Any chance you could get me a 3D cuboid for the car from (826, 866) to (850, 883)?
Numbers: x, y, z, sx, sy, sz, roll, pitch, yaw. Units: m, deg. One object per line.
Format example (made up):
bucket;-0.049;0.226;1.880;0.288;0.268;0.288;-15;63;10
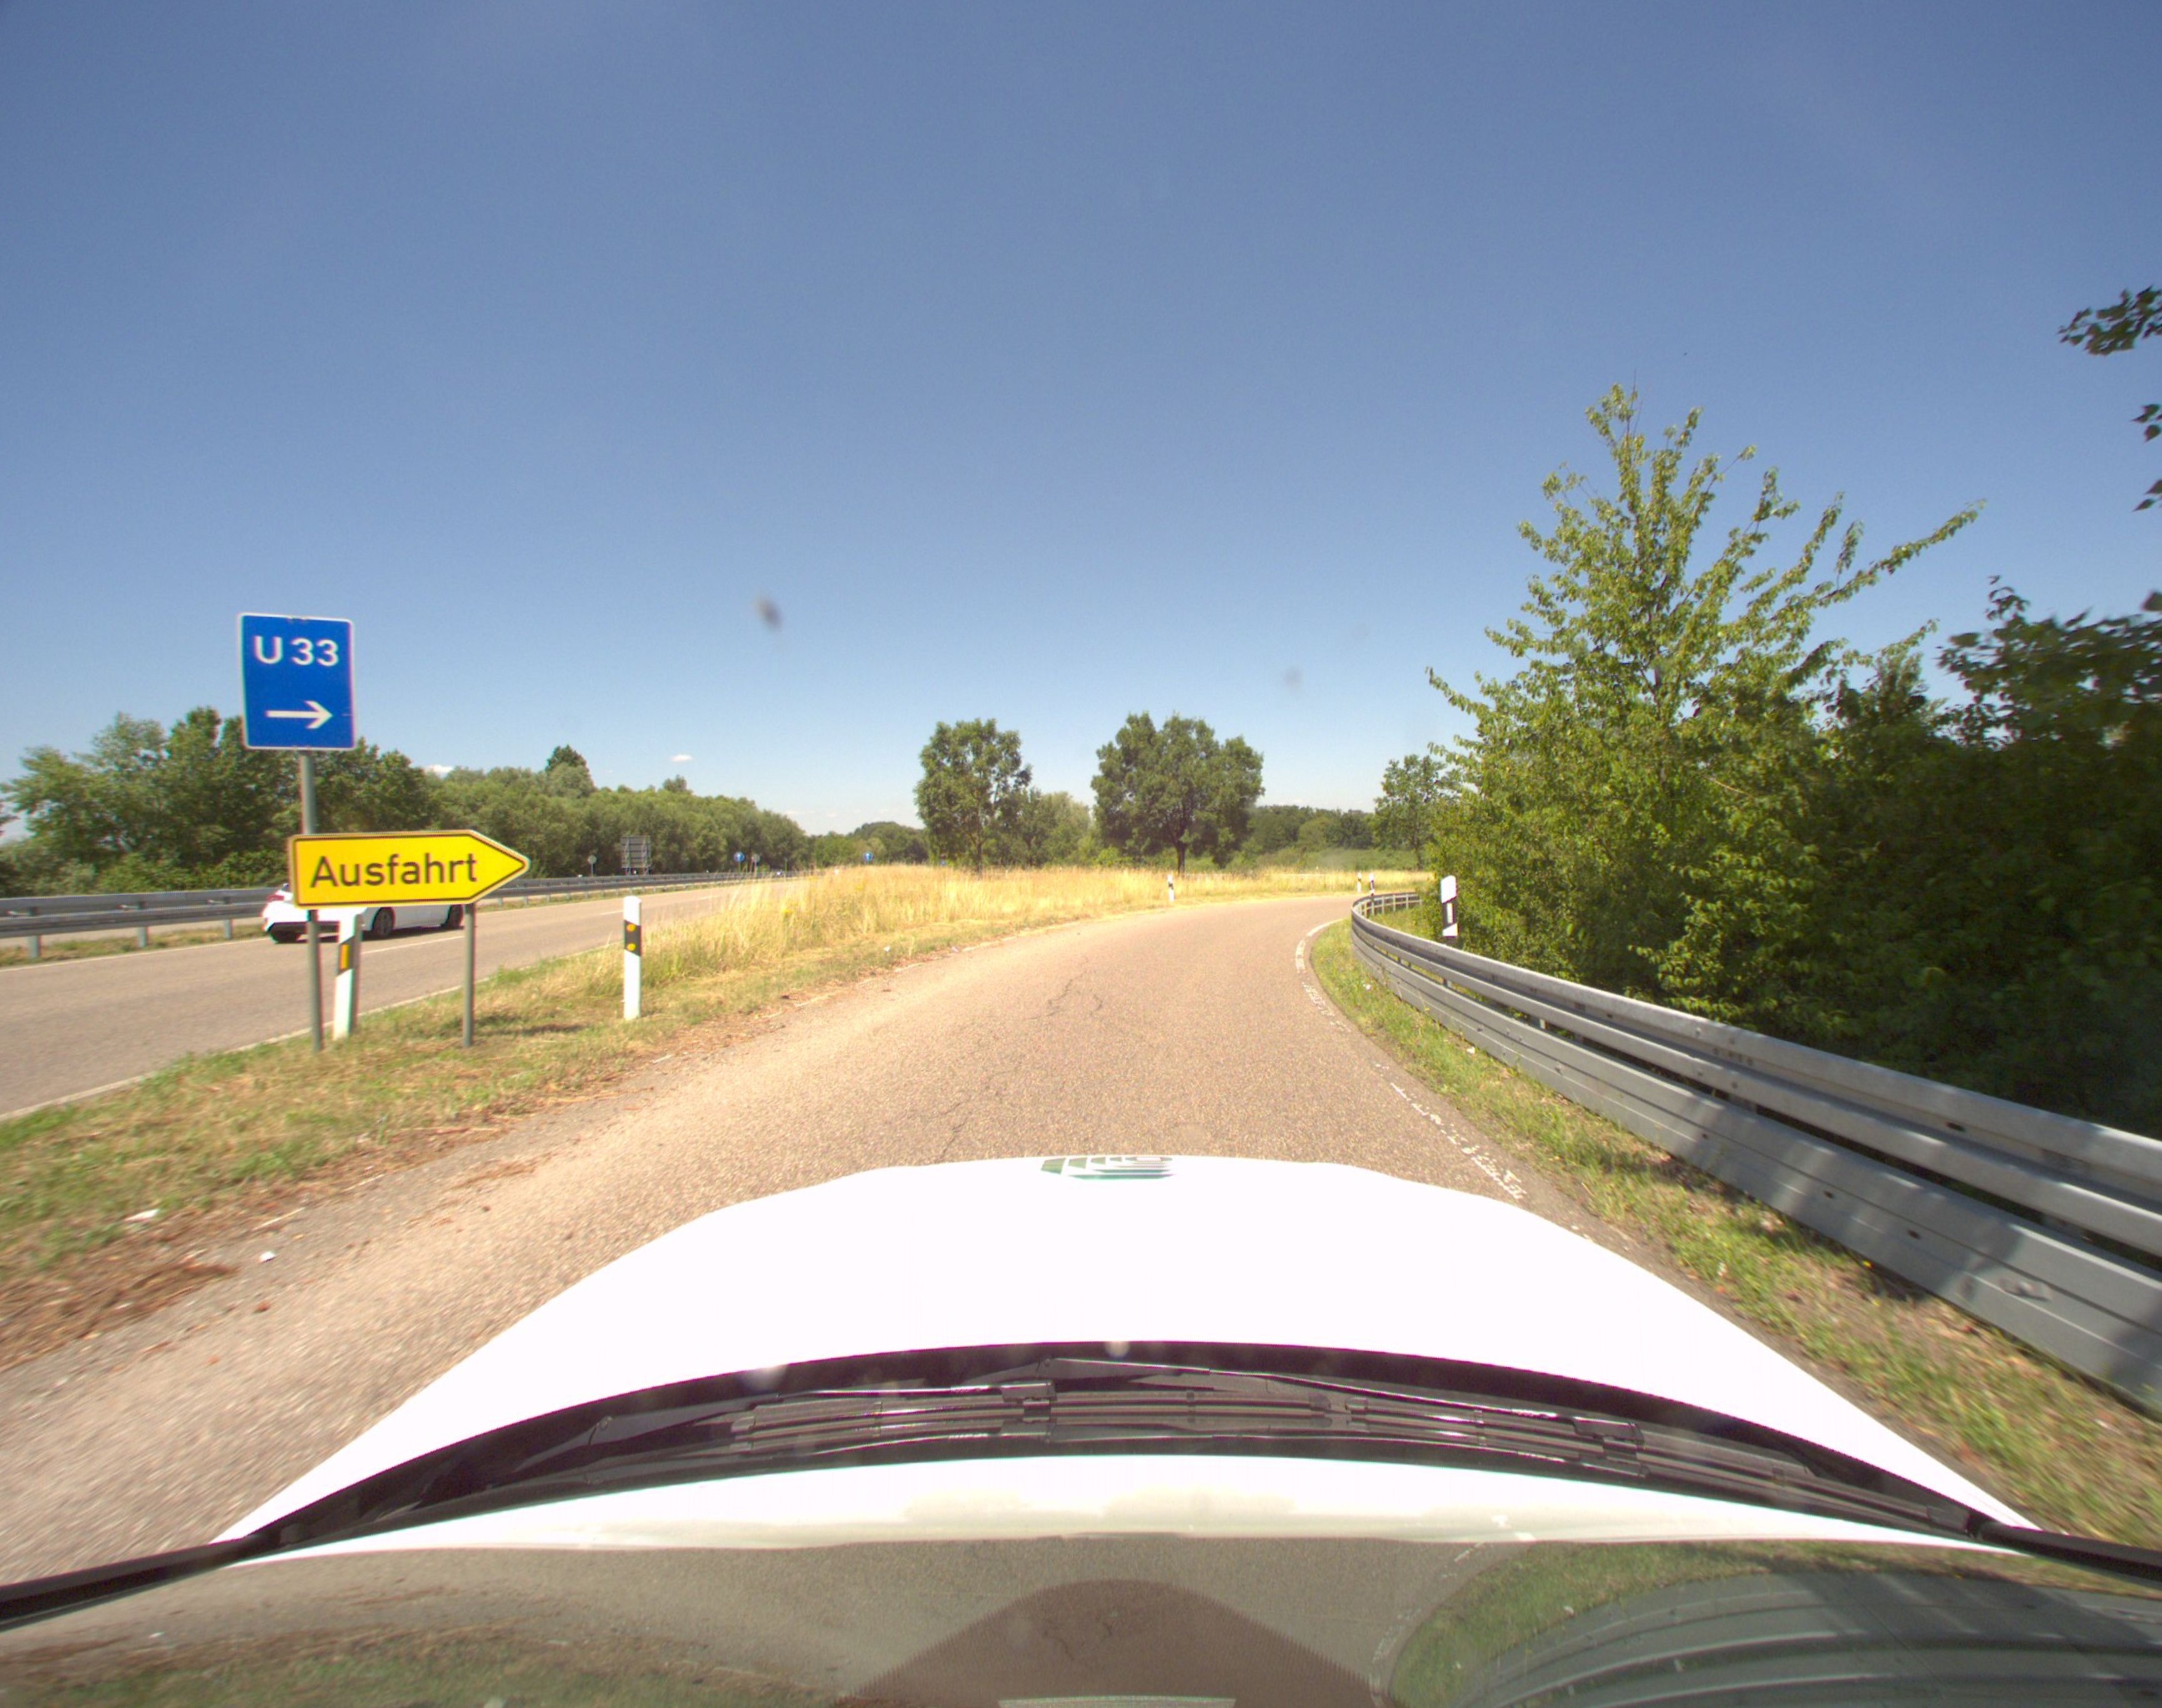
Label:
car;-24.565;2.073;82.451;2.037;1.673;3.984;1;-1;-12
